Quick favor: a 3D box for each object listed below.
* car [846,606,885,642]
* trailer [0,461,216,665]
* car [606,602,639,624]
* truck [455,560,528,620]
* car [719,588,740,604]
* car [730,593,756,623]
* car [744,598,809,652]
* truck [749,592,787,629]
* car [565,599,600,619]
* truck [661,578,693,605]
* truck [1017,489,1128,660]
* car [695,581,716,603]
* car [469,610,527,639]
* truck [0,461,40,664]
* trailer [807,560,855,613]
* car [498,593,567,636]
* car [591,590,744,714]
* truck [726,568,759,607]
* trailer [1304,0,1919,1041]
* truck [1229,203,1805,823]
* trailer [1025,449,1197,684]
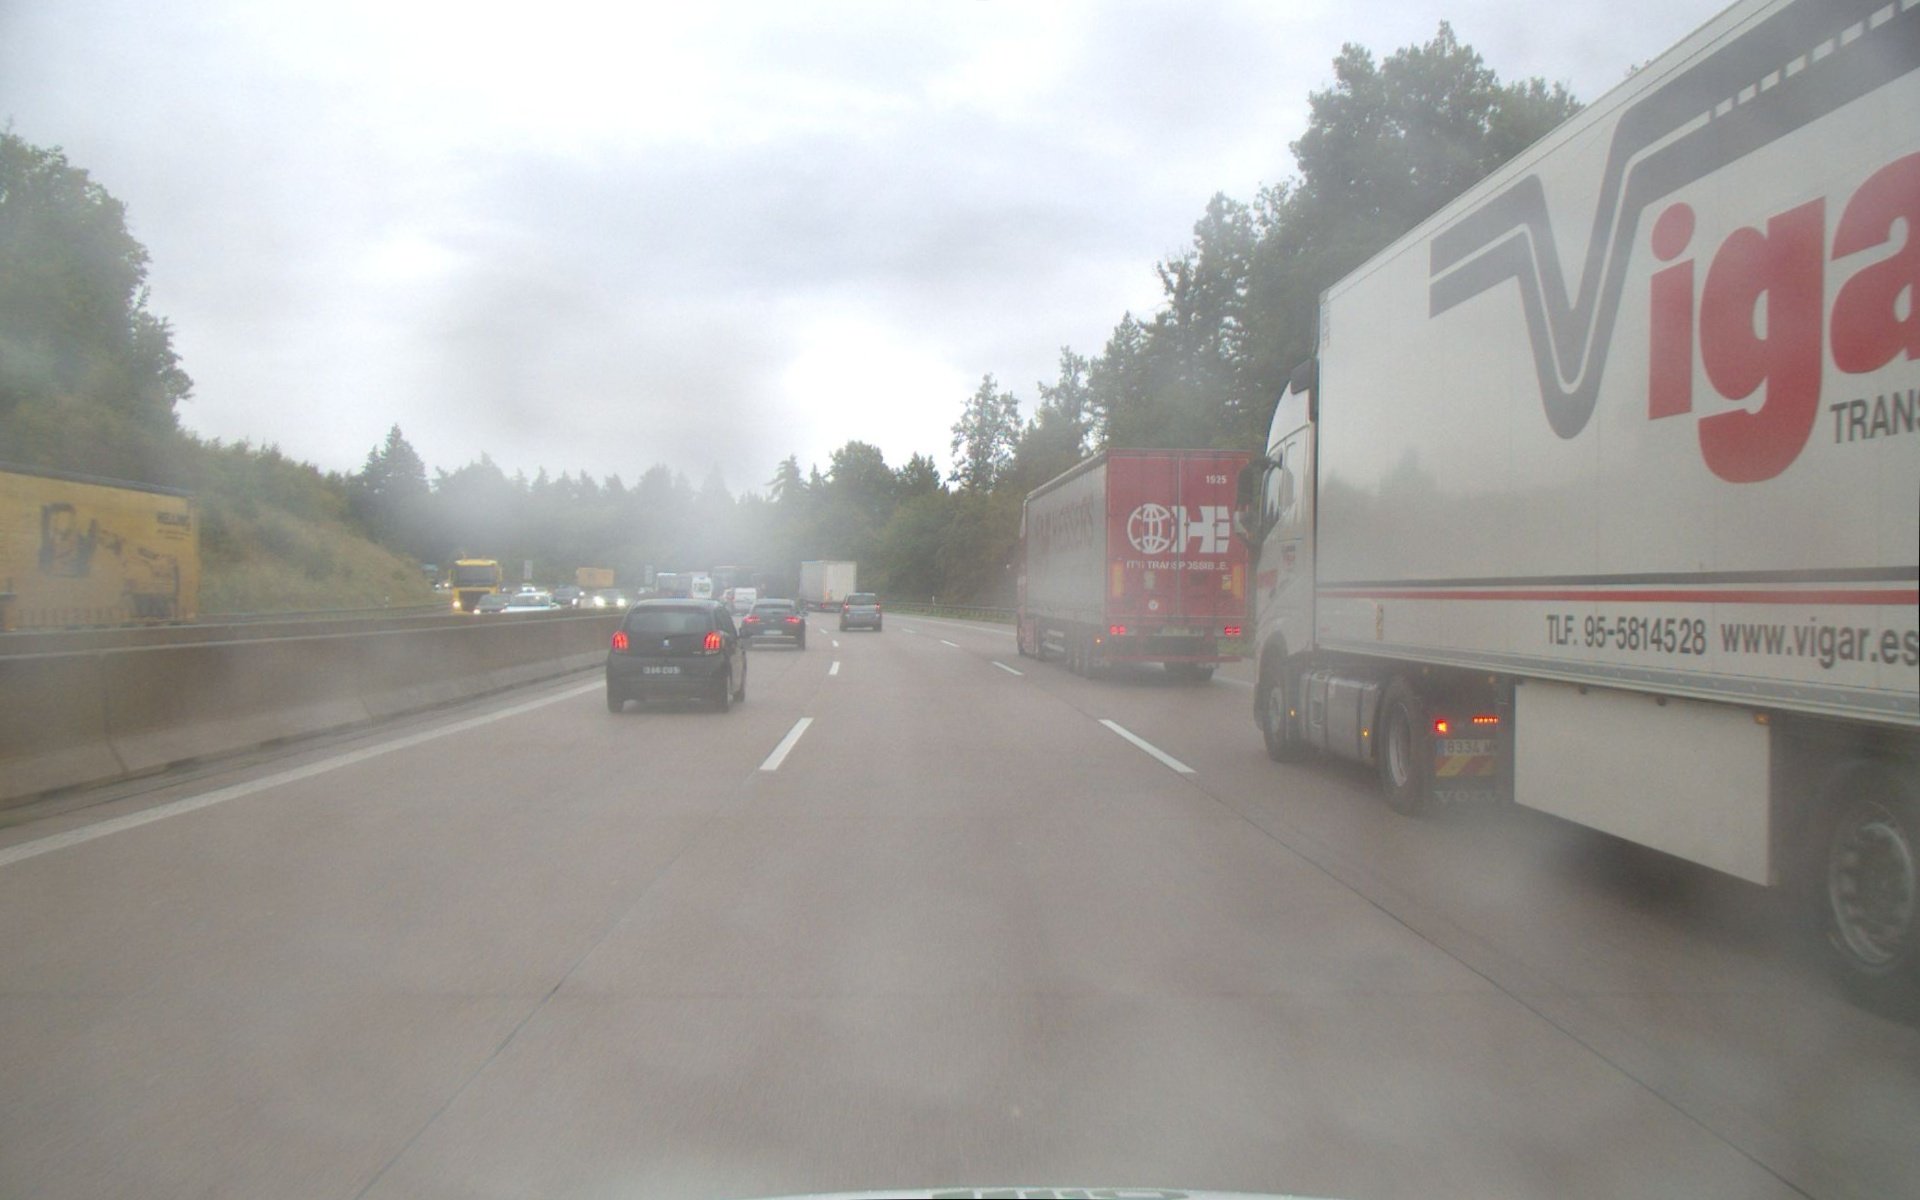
[{"bbox_3d":[-4.055,1.012,71.200,1.522,1.375,3.682,3,0,-2],"label":"car"},{"bbox_3d":[-20.370,-0.741,36.085,2.955,3.942,13.688,1,0,-4],"label":"trailer"},{"bbox_3d":[-21.915,0.821,107.404,1.621,1.370,4.081,1,0,-5],"label":"car"},{"bbox_3d":[-27.539,-0.556,97.585,2.571,3.354,9.370,0,0,-6],"label":"truck"},{"bbox_3d":[-22.636,-0.399,162.289,1.847,1.498,3.991,3,0,-10],"label":"car"},{"bbox_3d":[-14.880,0.550,113.411,1.693,2.049,3.649,0,0,-9],"label":"car"},{"bbox_3d":[-5.175,0.683,46.986,1.523,1.375,3.682,3,0,-2],"label":"car"},{"bbox_3d":[-16.670,0.867,143.169,2.231,2.937,7.875,1,1,-14],"label":"truck"},{"bbox_3d":[-26.193,0.599,114.855,1.770,1.370,4.761,1,0,-5],"label":"car"},{"bbox_3d":[-34.410,-1.042,200.823,3.031,2.956,7.873,1,1,-15],"label":"truck"},{"bbox_3d":[2.767,-0.606,42.069,2.326,4.023,6.159,1,0,0],"label":"truck"},{"bbox_3d":[-24.258,-0.781,157.817,1.956,2.095,3.992,0,0,-8],"label":"car"},{"bbox_3d":[-20.515,1.068,73.595,1.621,1.219,4.540,1,0,-5],"label":"car"},{"bbox_3d":[-19.899,-0.742,29.470,2.967,3.942,8.109,1,0,-5],"label":"truck"},{"bbox_3d":[-10.632,-1.143,135.193,2.377,4.139,12.020,1,1,-12],"label":"trailer"},{"bbox_3d":[-15.839,0.527,61.490,1.621,1.504,4.541,1,0,-4],"label":"car"},{"bbox_3d":[-3.921,0.648,22.664,1.651,1.488,3.680,3,0,-5],"label":"car"},{"bbox_3d":[-24.626,-1.486,187.046,3.308,4.203,10.414,1,1,-10],"label":"truck"},{"bbox_3d":[4.556,-0.579,7.374,2.679,4.175,13.676,1,0,-2],"label":"trailer"},{"bbox_3d":[4.284,-0.588,14.220,2.742,4.175,5.965,1,0,-2],"label":"truck"},{"bbox_3d":[2.842,-0.587,34.732,2.322,4.023,12.519,1,0,-1],"label":"trailer"}]
